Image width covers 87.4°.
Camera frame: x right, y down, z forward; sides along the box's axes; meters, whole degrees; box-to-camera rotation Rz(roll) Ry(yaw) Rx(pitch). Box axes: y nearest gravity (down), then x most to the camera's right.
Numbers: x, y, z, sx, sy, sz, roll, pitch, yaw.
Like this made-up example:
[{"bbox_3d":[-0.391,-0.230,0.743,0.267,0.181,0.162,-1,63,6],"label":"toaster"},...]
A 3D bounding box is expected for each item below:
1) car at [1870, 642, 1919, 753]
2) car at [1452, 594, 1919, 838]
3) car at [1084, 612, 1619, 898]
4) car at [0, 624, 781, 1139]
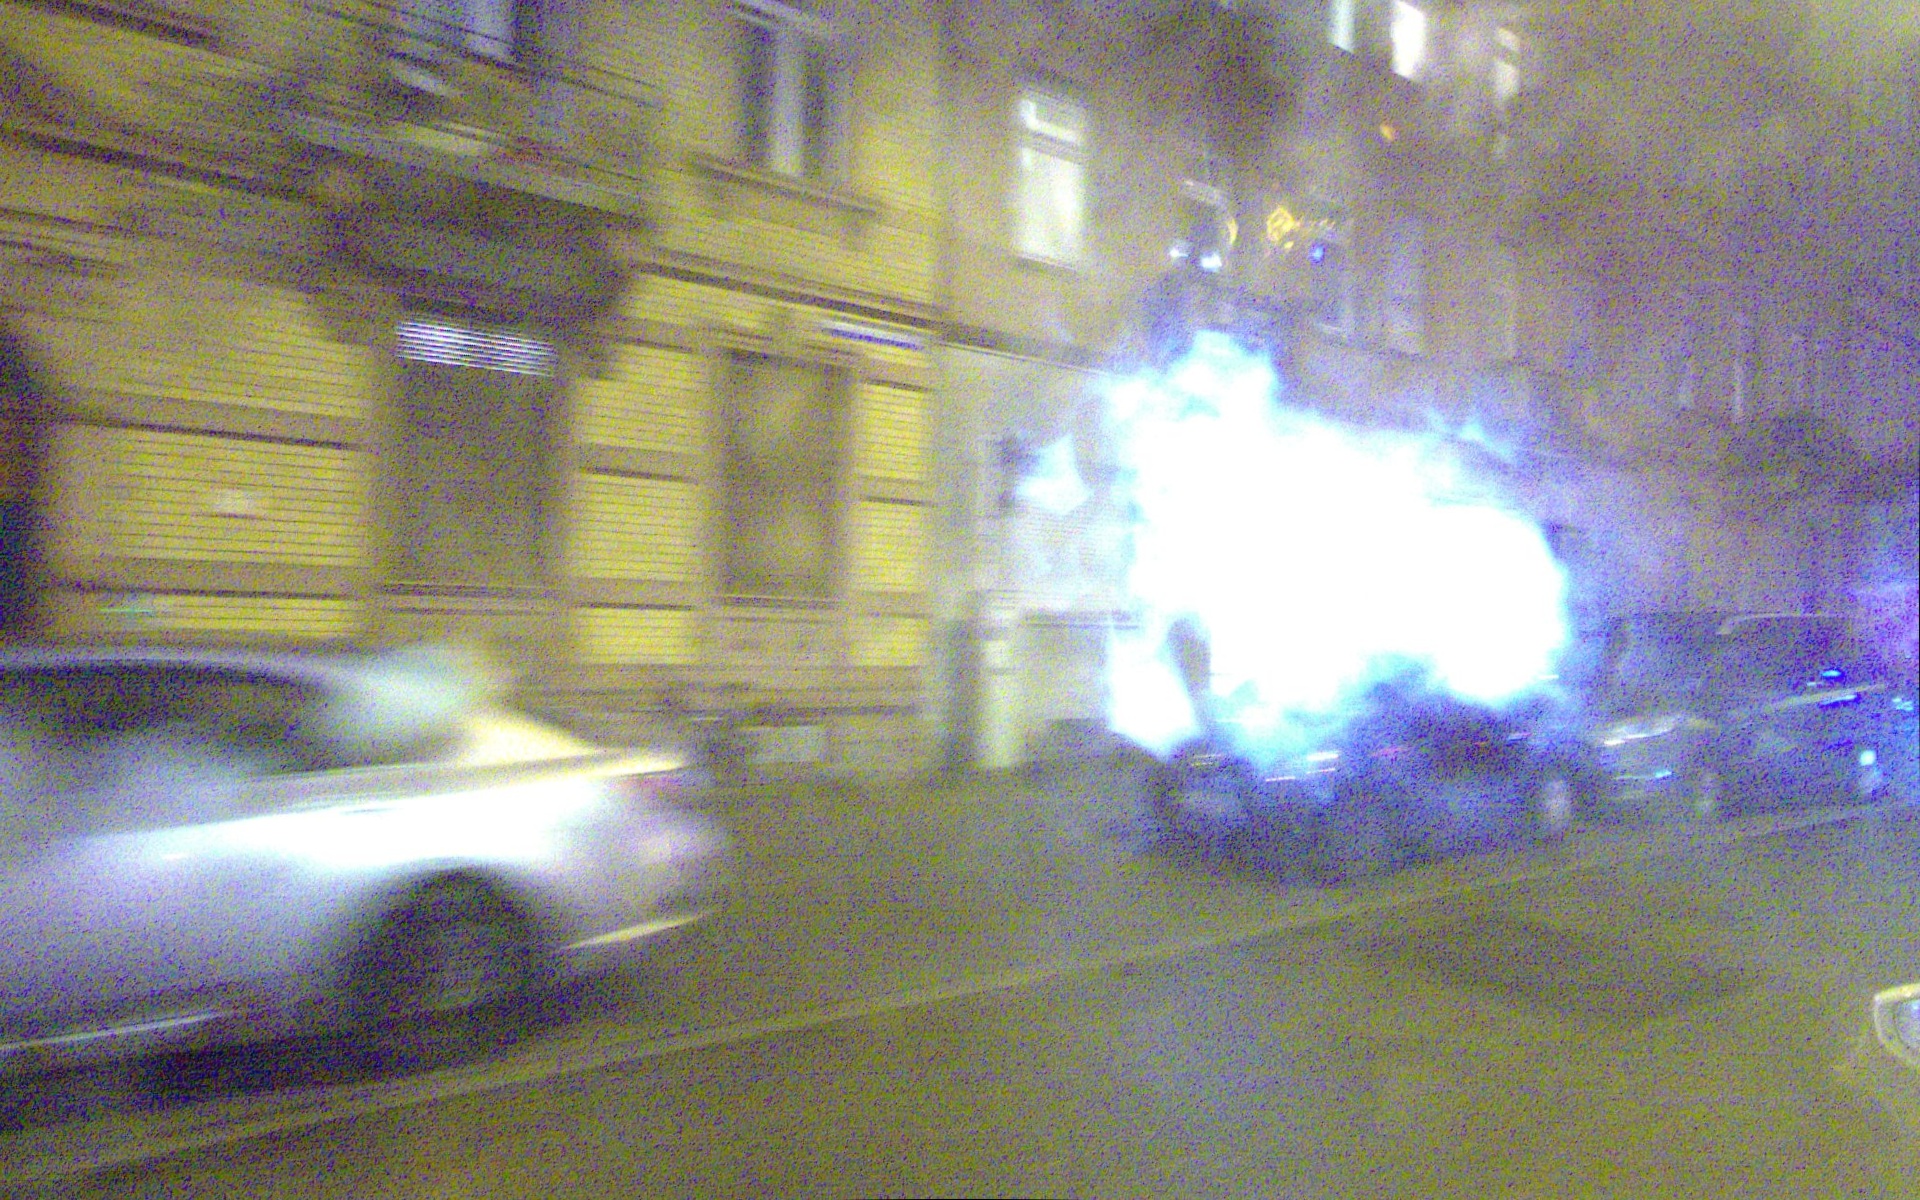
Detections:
[{"bbox_3d":[14.685,1.373,14.270,3.676,1.479,1.562,2,-1,-30],"label":"car"},{"bbox_3d":[7.083,0.951,9.645,4.772,1.853,1.894,2,-1,-30],"label":"car"},{"bbox_3d":[2.905,0.932,7.325,3.676,1.595,1.719,2,-1,-30],"label":"car"},{"bbox_3d":[-3.084,0.813,3.587,4.501,1.410,1.719,2,-1,-30],"label":"car"}]
